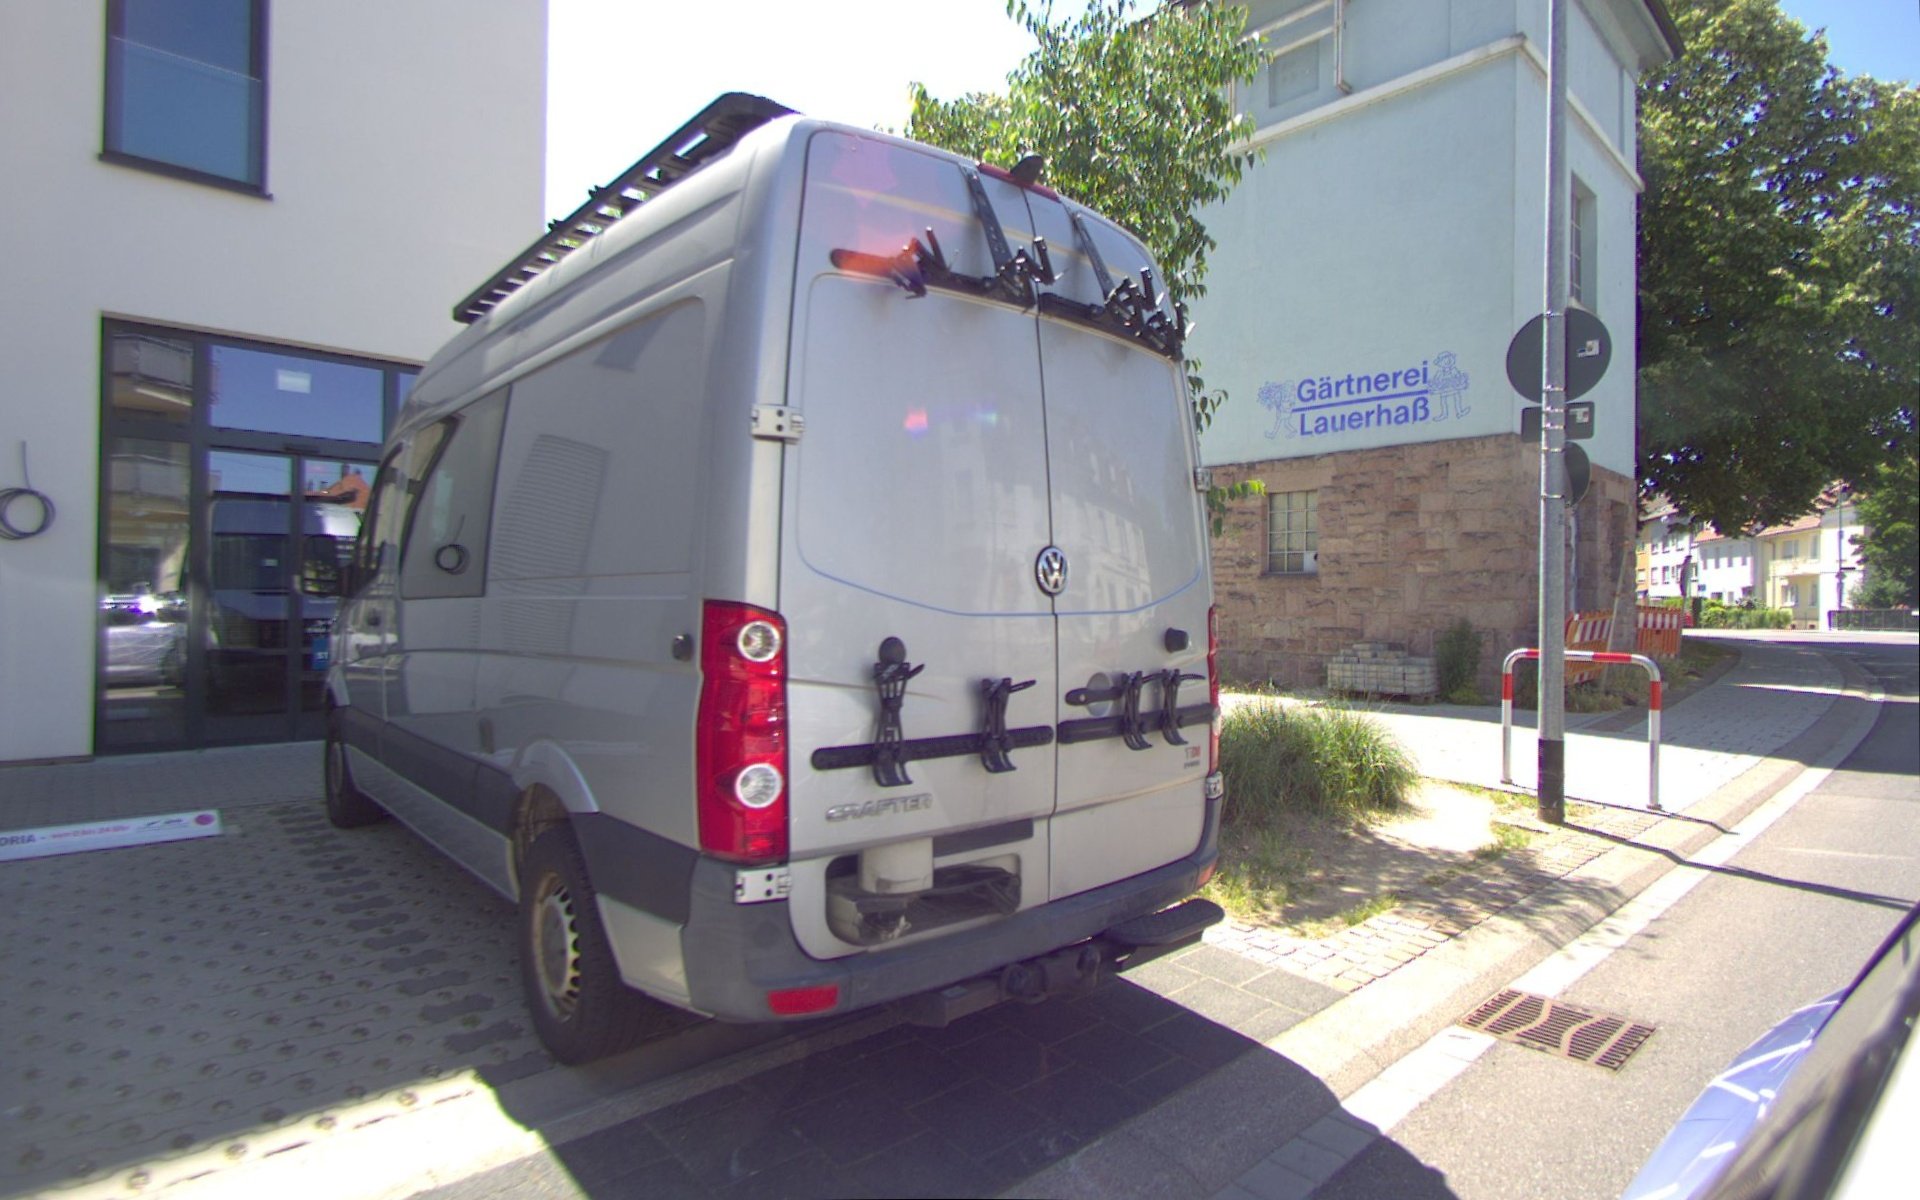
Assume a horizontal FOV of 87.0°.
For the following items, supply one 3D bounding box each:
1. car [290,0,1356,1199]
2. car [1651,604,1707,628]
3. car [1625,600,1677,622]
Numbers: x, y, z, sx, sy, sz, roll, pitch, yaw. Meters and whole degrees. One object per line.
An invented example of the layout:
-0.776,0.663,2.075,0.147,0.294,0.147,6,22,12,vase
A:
-1.465,-0.156,4.827,2.158,2.767,5.950,0,1,-41,car
48.491,1.094,68.333,1.860,1.499,4.704,-2,-2,21,car
50.454,0.832,73.989,1.846,1.480,5.270,-1,-2,20,car
